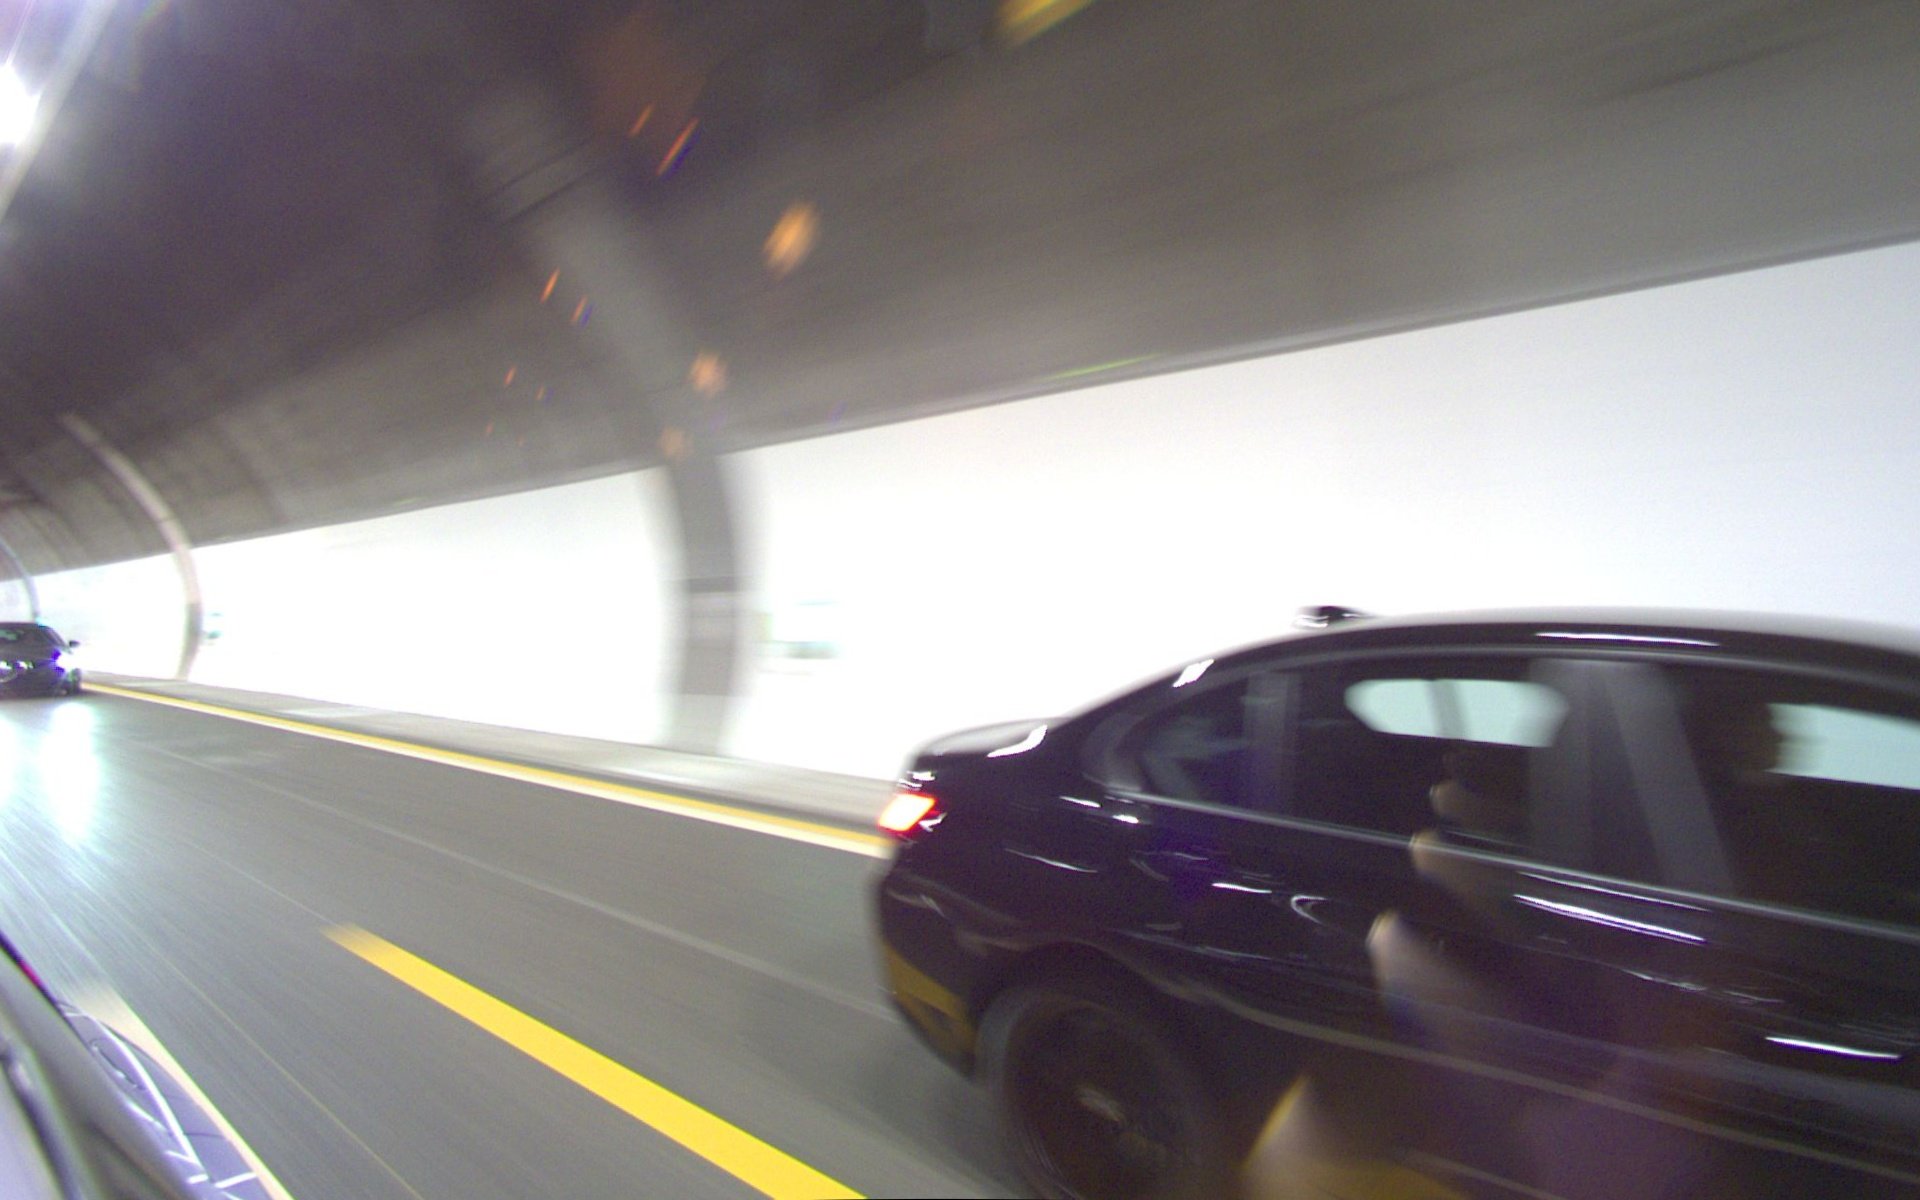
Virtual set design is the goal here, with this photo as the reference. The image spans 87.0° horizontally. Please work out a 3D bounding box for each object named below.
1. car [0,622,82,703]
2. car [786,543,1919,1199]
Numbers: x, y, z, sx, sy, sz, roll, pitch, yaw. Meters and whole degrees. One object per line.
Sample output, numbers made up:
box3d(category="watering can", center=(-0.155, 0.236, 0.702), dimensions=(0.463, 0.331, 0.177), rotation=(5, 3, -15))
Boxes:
box3d(category="car", center=(-19.133, 1.196, 20.118), dimensions=(4.878, 1.449, 1.760), rotation=(-2, -1, 40))
box3d(category="car", center=(1.925, 0.639, 1.900), dimensions=(4.880, 1.449, 1.759), rotation=(-2, -1, 41))
